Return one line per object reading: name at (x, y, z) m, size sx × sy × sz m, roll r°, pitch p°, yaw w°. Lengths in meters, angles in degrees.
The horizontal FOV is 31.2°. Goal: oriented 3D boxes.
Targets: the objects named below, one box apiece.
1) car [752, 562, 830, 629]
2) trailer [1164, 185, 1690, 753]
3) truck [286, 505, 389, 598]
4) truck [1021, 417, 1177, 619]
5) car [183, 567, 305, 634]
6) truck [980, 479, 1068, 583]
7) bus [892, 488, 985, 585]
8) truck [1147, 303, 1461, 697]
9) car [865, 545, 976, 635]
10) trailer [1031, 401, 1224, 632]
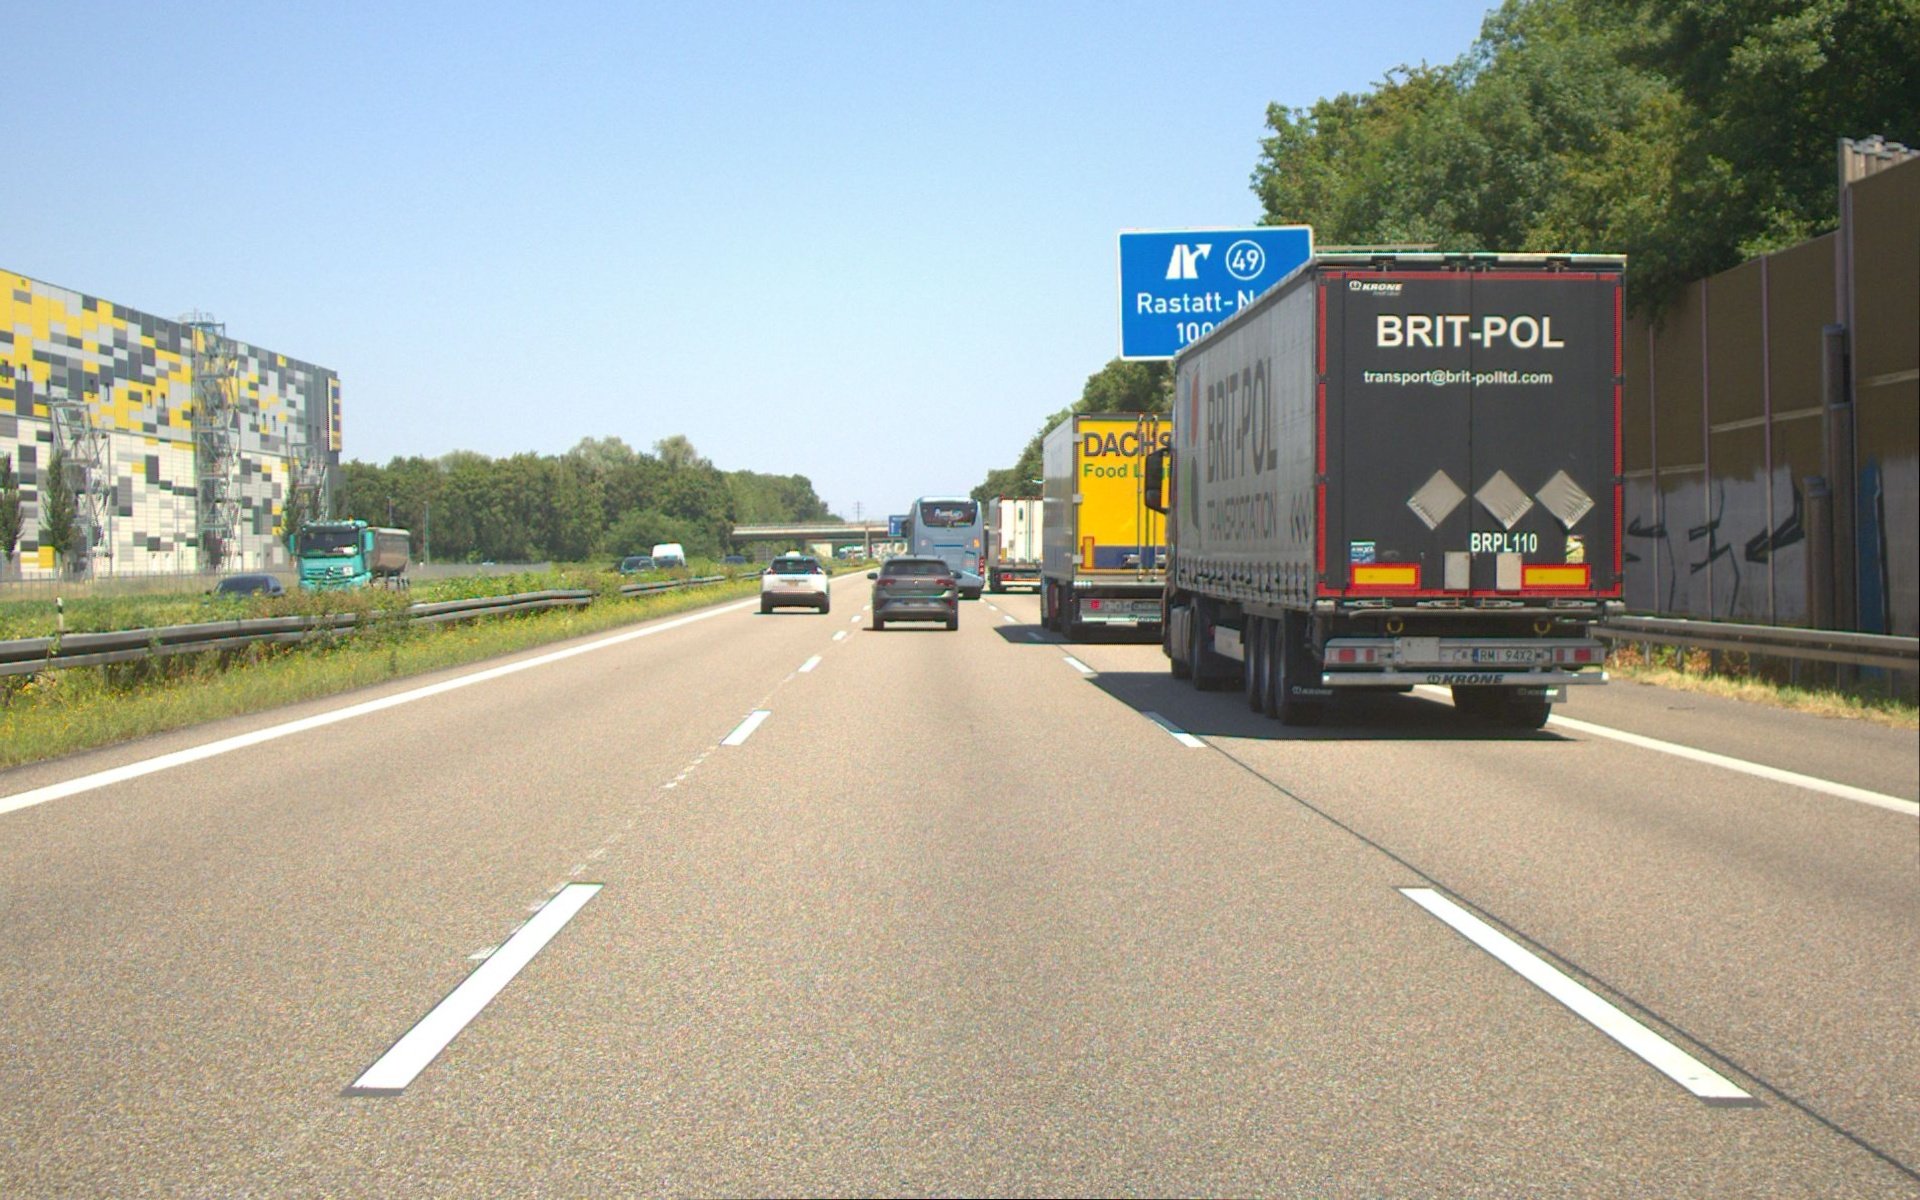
car at (-4.483, -0.138, 91.516) m, size 1.993 × 1.722 × 4.131 m, roll 0°, pitch 1°, yaw -2°
trailer at (4.158, -1.108, 34.784) m, size 3.106 × 4.491 × 14.896 m, roll 0°, pitch 0°, yaw -1°
truck at (-22.532, -1.739, 124.777) m, size 2.697 × 3.239 × 5.838 m, roll -1°, pitch 0°, yaw -1°
truck at (2.823, -1.671, 71.730) m, size 2.813 × 3.993 × 6.645 m, roll 0°, pitch 1°, yaw -1°
car at (-18.521, -0.017, 89.216) m, size 1.993 × 1.634 × 5.663 m, roll -1°, pitch 1°, yaw 0°
truck at (2.617, -2.842, 143.742) m, size 3.422 × 4.112 × 9.564 m, roll -1°, pitch 1°, yaw 0°
bus at (-0.834, -2.249, 124.015) m, size 3.062 × 3.315 × 8.275 m, roll -1°, pitch 1°, yaw -2°
truck at (4.076, -1.156, 42.123) m, size 3.087 × 4.426 × 6.053 m, roll 1°, pitch 0°, yaw -1°
car at (-0.847, -0.242, 72.256) m, size 2.216 × 1.784 × 5.393 m, roll -1°, pitch 1°, yaw -1°
trailer at (2.975, -1.514, 64.482) m, size 2.834 × 3.940 × 11.684 m, roll 0°, pitch 1°, yaw -1°
